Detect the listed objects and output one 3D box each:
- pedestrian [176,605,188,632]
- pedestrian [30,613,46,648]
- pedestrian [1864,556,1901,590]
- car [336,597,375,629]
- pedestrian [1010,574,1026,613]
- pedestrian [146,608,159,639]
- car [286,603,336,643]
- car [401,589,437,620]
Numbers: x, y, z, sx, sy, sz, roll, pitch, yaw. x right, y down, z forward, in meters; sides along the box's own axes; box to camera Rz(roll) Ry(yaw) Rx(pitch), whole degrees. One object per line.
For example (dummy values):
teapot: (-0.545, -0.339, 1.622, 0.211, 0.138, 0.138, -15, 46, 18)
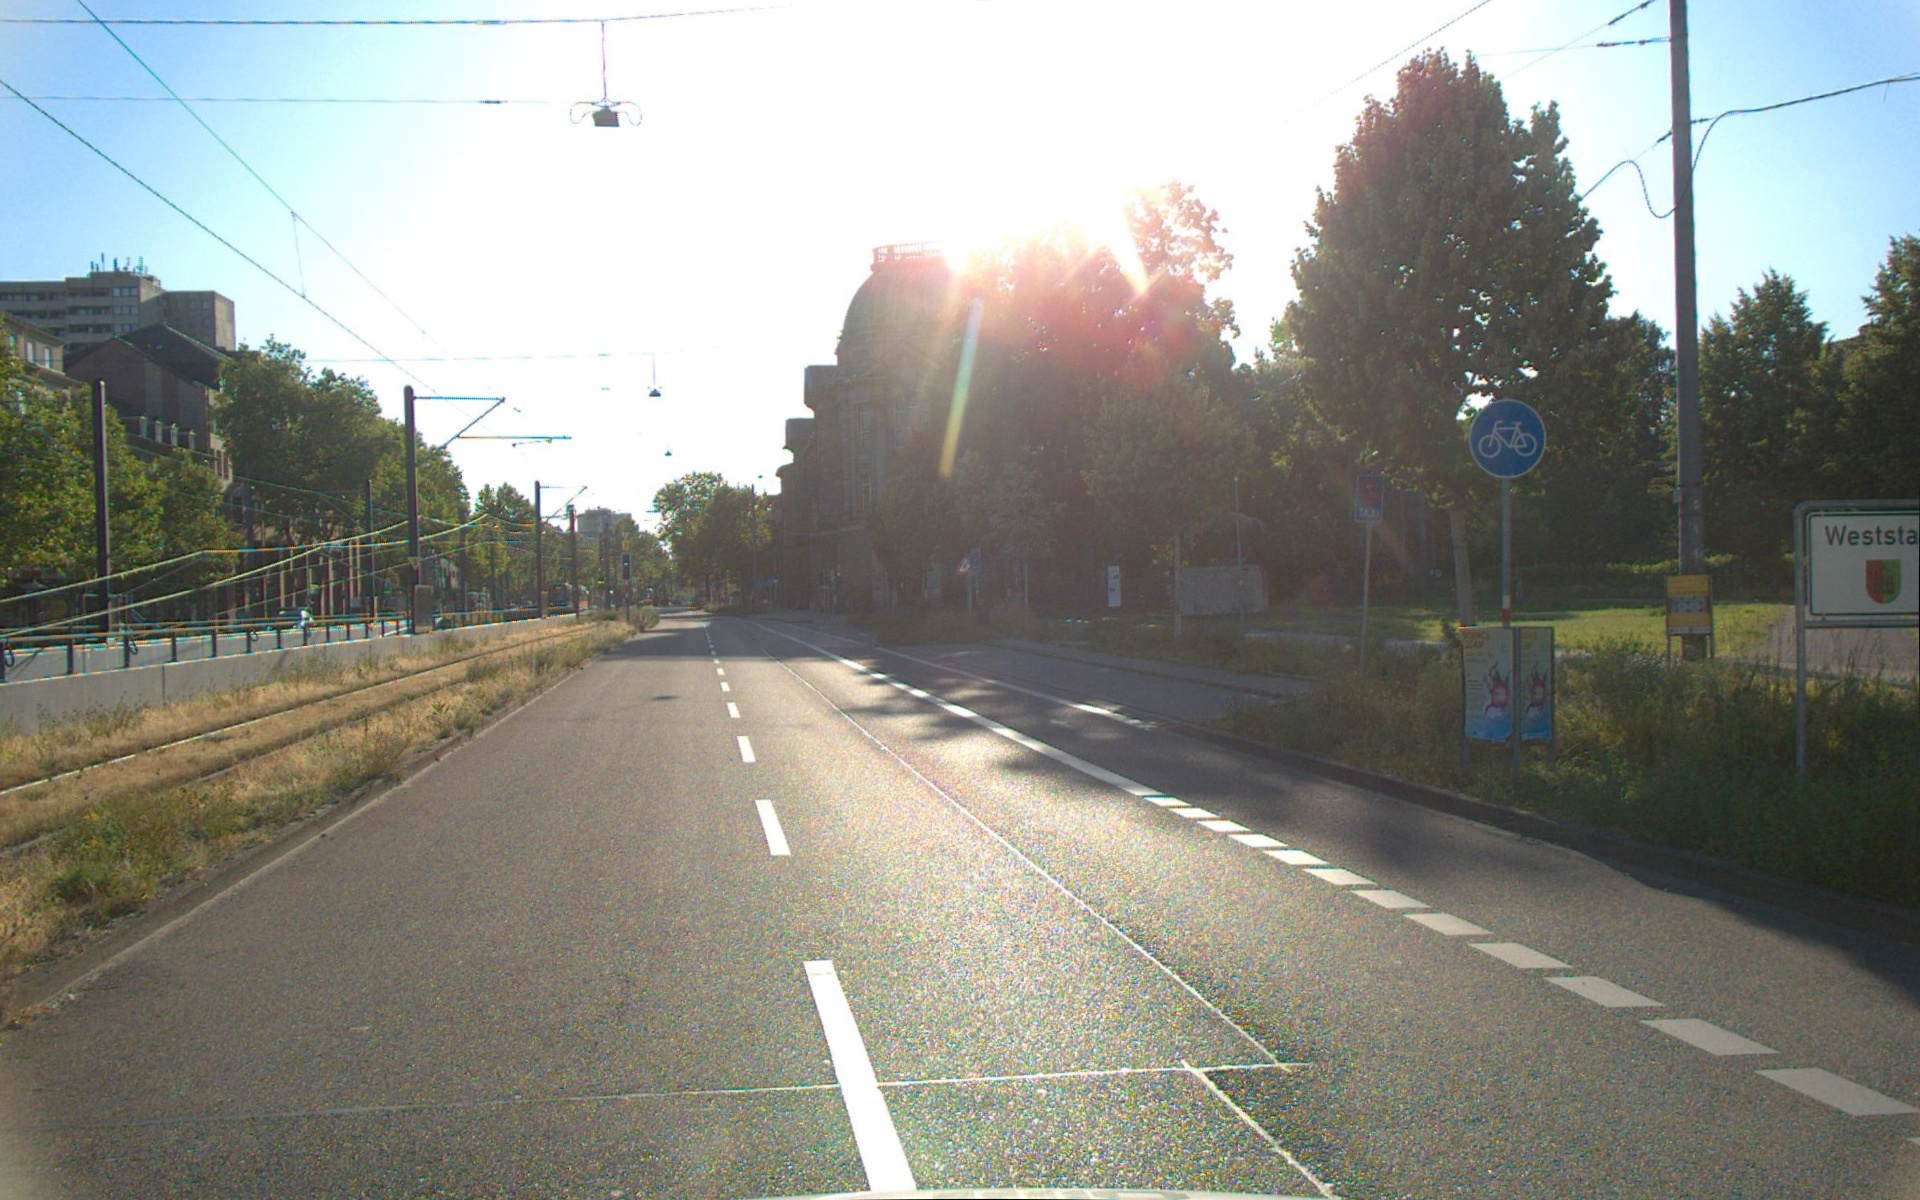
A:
pedestrian: (-49.874, 1.178, 106.009, 0.481, 1.738, 0.549, -2, 0, -9)
pedestrian: (-46.484, 1.515, 83.357, 0.481, 1.738, 0.549, -2, 0, -9)
pedestrian: (33.443, -0.962, 59.986, 0.795, 1.208, 0.843, -2, 0, -9)
car: (-44.619, 0.951, 122.144, 1.957, 2.283, 3.991, -2, 0, -9)
pedestrian: (2.780, -0.300, 79.867, 0.670, 1.854, 0.535, -2, 0, -4)
pedestrian: (-47.046, 1.372, 96.404, 0.481, 1.738, 0.549, -2, 0, -9)
car: (-35.041, 1.225, 89.389, 1.960, 2.049, 3.986, -2, 0, -14)
car: (-37.284, 0.327, 114.018, 1.960, 2.049, 3.986, -2, 0, -14)
